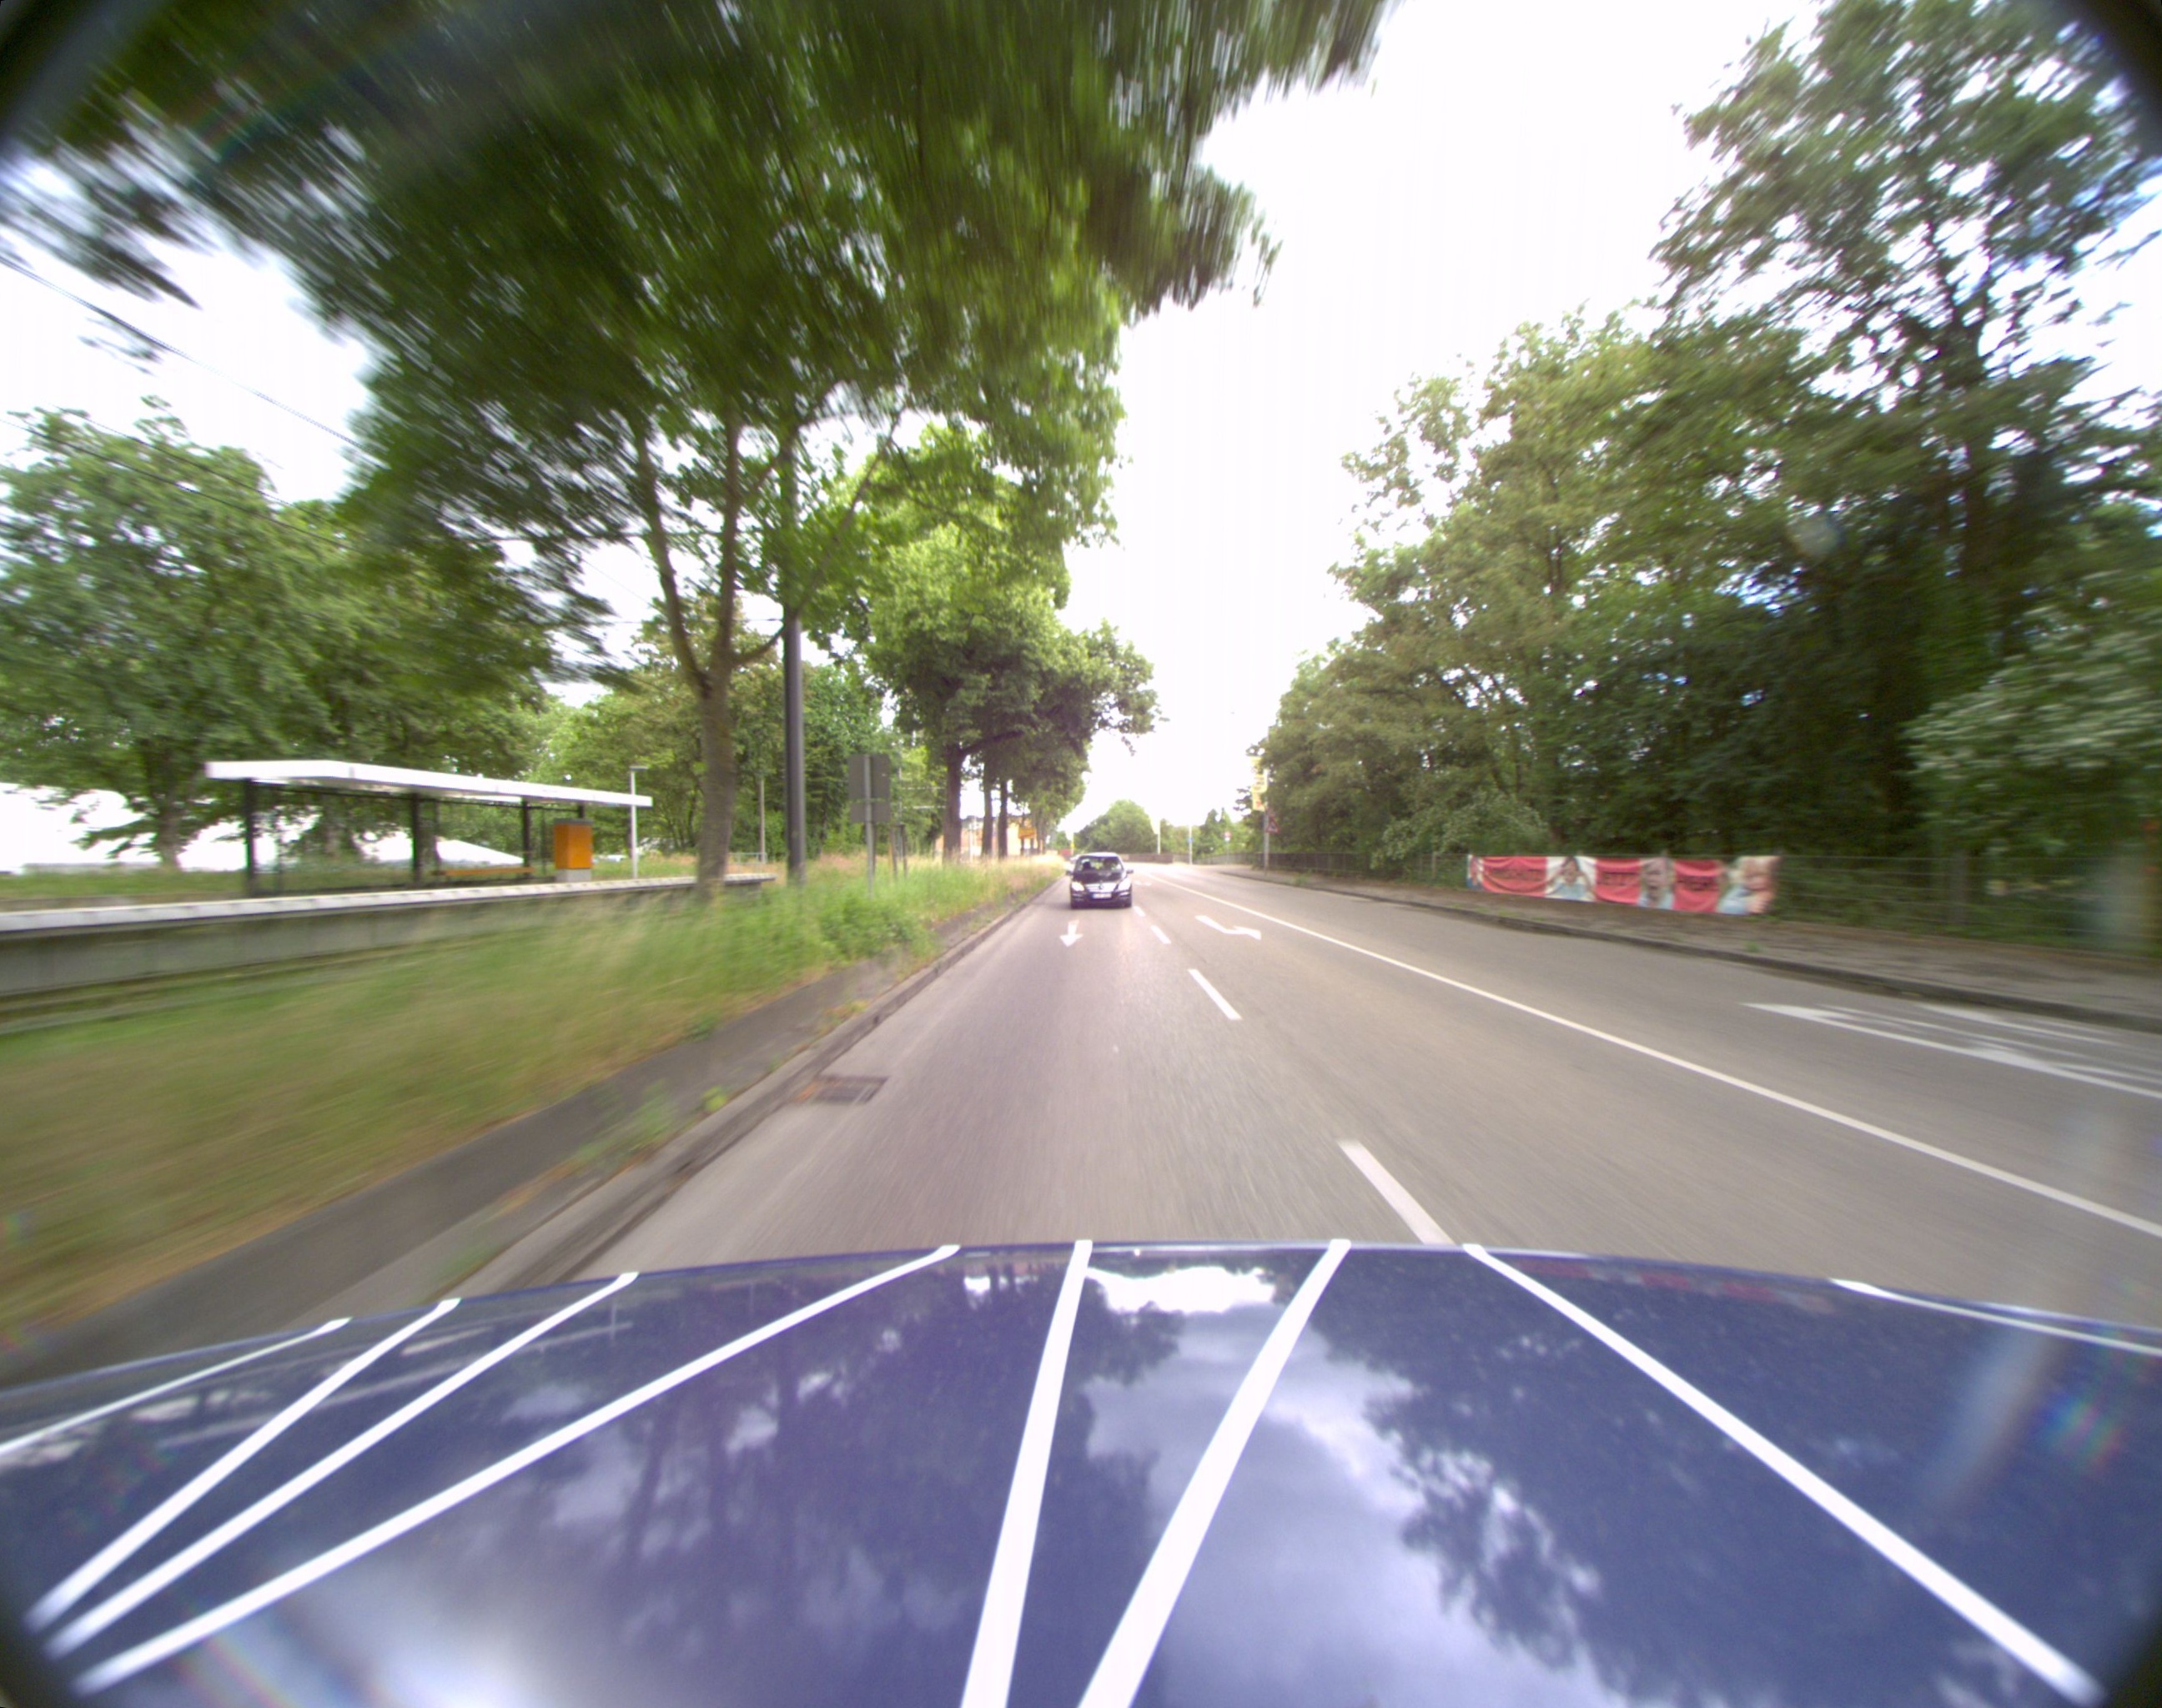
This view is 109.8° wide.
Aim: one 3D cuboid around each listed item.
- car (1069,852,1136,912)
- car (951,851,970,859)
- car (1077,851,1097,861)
[{"bbox_3d":[0.547,0.733,22.021,1.751,1.556,4.074,0,1,-1],"label":"car"},{"bbox_3d":[-23.133,0.245,146.072,3.685,1.457,1.589,-1,1,44],"label":"car"},{"bbox_3d":[0.885,0.262,109.992,1.765,1.329,3.690,-2,1,-17],"label":"car"}]
